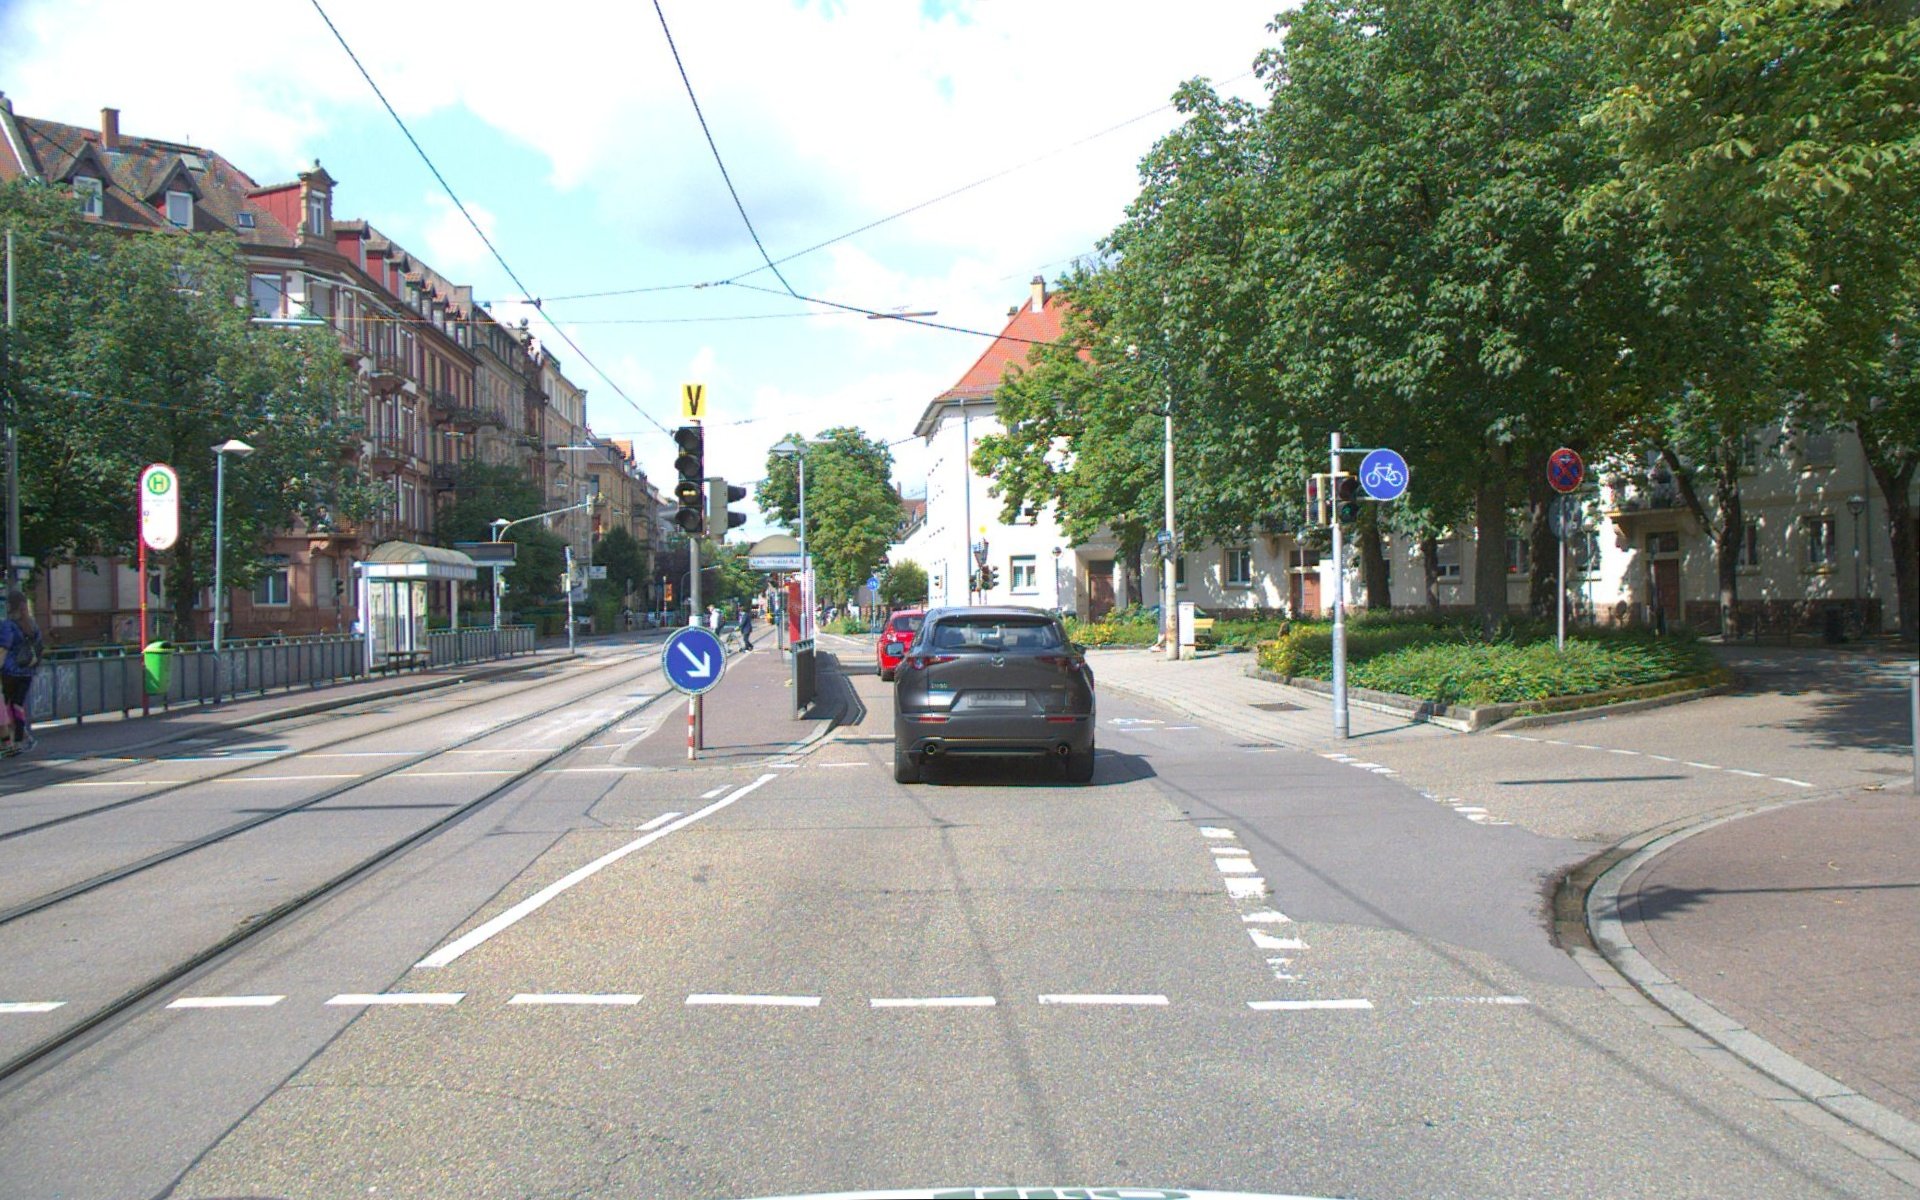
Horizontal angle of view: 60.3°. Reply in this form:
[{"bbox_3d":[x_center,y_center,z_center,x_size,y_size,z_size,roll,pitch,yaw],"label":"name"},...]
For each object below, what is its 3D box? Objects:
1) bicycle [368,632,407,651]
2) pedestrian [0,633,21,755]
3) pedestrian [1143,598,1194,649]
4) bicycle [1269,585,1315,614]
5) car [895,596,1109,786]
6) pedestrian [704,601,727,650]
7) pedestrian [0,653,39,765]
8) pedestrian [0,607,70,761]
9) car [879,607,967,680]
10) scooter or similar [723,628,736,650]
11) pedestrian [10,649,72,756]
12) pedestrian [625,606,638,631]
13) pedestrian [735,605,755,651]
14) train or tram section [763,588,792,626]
[{"bbox_3d":[-24.335,1.766,70.322,0.378,0.760,1.707,-1,0,30],"label":"bicycle"},{"bbox_3d":[-10.933,1.049,18.180,0.810,1.326,0.716,-3,0,-10],"label":"pedestrian"},{"bbox_3d":[5.574,0.627,44.259,1.170,1.291,0.556,-3,0,-10],"label":"pedestrian"},{"bbox_3d":[12.824,-0.014,63.935,0.562,1.037,1.726,-3,1,-42],"label":"bicycle"},{"bbox_3d":[0.319,0.773,15.673,1.746,1.540,3.999,1,-1,-1],"label":"car"},{"bbox_3d":[-8.642,0.887,58.426,0.756,1.704,0.667,-1,0,-6],"label":"pedestrian"},{"bbox_3d":[-9.981,1.132,17.142,0.629,1.133,0.443,-1,-1,-10],"label":"pedestrian"},{"bbox_3d":[-10.062,0.883,17.678,0.714,1.593,0.797,-1,-1,-10],"label":"pedestrian"},{"bbox_3d":[-0.852,0.900,35.801,1.740,1.490,3.839,1,0,-4],"label":"car"},{"bbox_3d":[-8.046,1.358,57.769,0.406,0.733,0.486,-1,0,-6],"label":"scooter or similar"},{"bbox_3d":[-10.164,1.125,18.298,0.429,1.127,0.422,-3,0,-10],"label":"pedestrian"},{"bbox_3d":[-22.513,1.278,113.424,0.772,1.718,0.731,-1,0,-4],"label":"pedestrian"},{"bbox_3d":[-7.515,0.973,57.794,0.655,1.573,0.580,-1,0,-6],"label":"pedestrian"},{"bbox_3d":[-20.642,0.866,188.051,2.939,4.053,13.792,-1,-1,-5],"label":"train or tram section"}]
